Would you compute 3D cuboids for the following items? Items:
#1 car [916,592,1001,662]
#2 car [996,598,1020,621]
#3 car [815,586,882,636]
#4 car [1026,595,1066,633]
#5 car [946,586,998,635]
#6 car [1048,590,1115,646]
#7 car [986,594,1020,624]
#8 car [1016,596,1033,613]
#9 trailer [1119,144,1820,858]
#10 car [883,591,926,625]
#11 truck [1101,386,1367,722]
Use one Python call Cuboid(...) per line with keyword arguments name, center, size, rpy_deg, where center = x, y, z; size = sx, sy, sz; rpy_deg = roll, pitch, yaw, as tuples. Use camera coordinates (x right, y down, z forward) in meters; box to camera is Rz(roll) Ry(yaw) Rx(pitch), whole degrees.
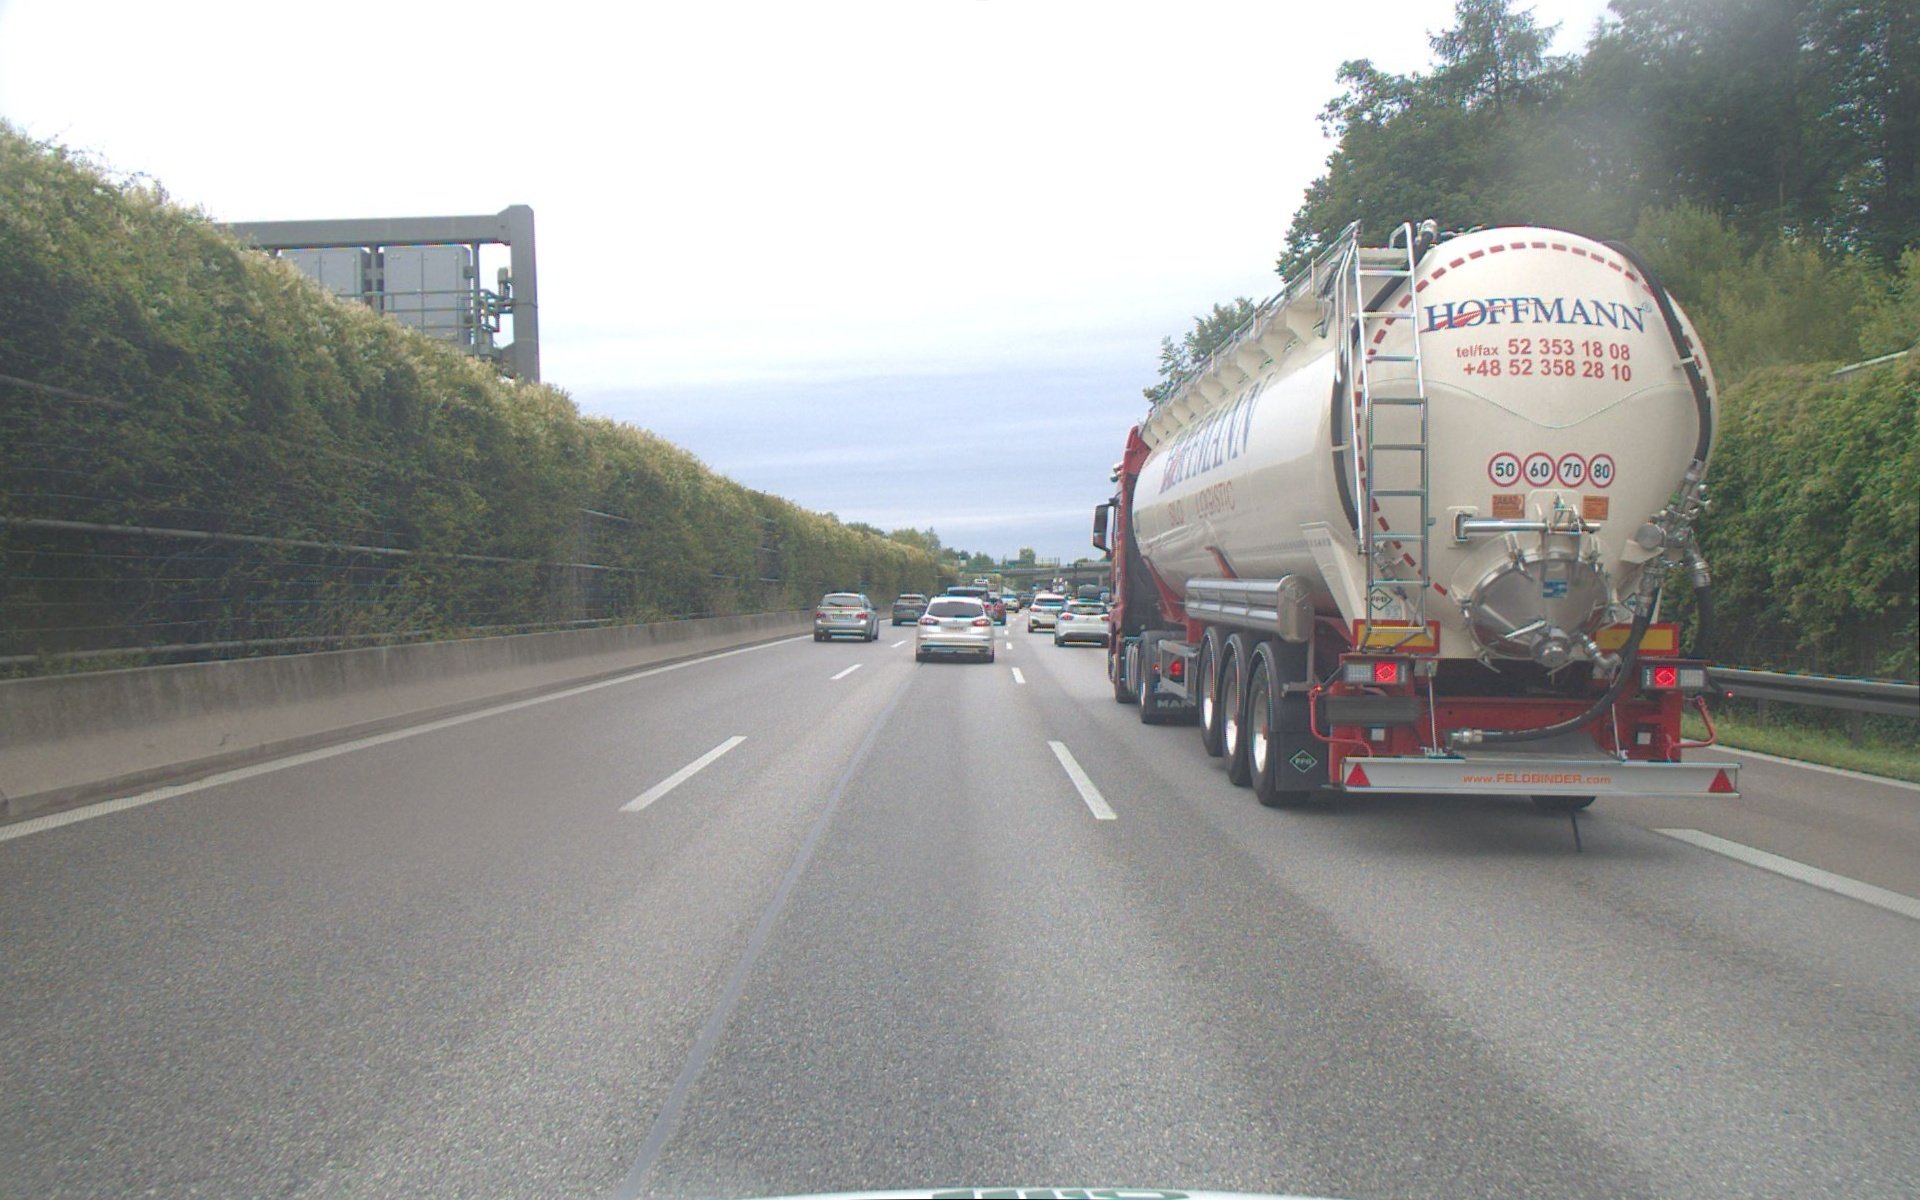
Cuboid(name="car", center=(0.014, 0.603, 39.120), size=(1.853, 1.530, 5.030), rpy_deg=(1, 0, 1))
Cuboid(name="car", center=(3.922, 0.799, 134.394), size=(1.752, 1.811, 3.873), rpy_deg=(-1, 0, 3))
Cuboid(name="car", center=(-3.482, 0.378, 52.457), size=(1.684, 1.495, 5.030), rpy_deg=(0, -2, 1))
Cuboid(name="car", center=(3.601, 0.586, 69.619), size=(1.653, 1.533, 3.872), rpy_deg=(0, 0, 2))
Cuboid(name="car", center=(0.446, 0.334, 58.869), size=(1.654, 1.532, 3.873), rpy_deg=(4, 1, 2))
Cuboid(name="car", center=(3.728, 0.518, 51.480), size=(1.778, 1.654, 5.030), rpy_deg=(0, 0, 1))
Cuboid(name="car", center=(2.239, 0.443, 84.720), size=(1.653, 1.533, 3.873), rpy_deg=(0, 0, 3))
Cuboid(name="car", center=(6.403, 0.436, 164.058), size=(1.653, 1.566, 3.873), rpy_deg=(0, 0, 2))
Cuboid(name="trailer", center=(3.507, -0.516, 15.873), size=(2.613, 4.008, 13.128), rpy_deg=(0, 0, 0))
Cuboid(name="car", center=(-2.593, 0.375, 78.599), size=(1.684, 1.538, 5.031), rpy_deg=(0, 0, 2))
Cuboid(name="truck", center=(3.534, -0.527, 22.881), size=(2.640, 3.981, 6.556), rpy_deg=(0, 0, 0))
